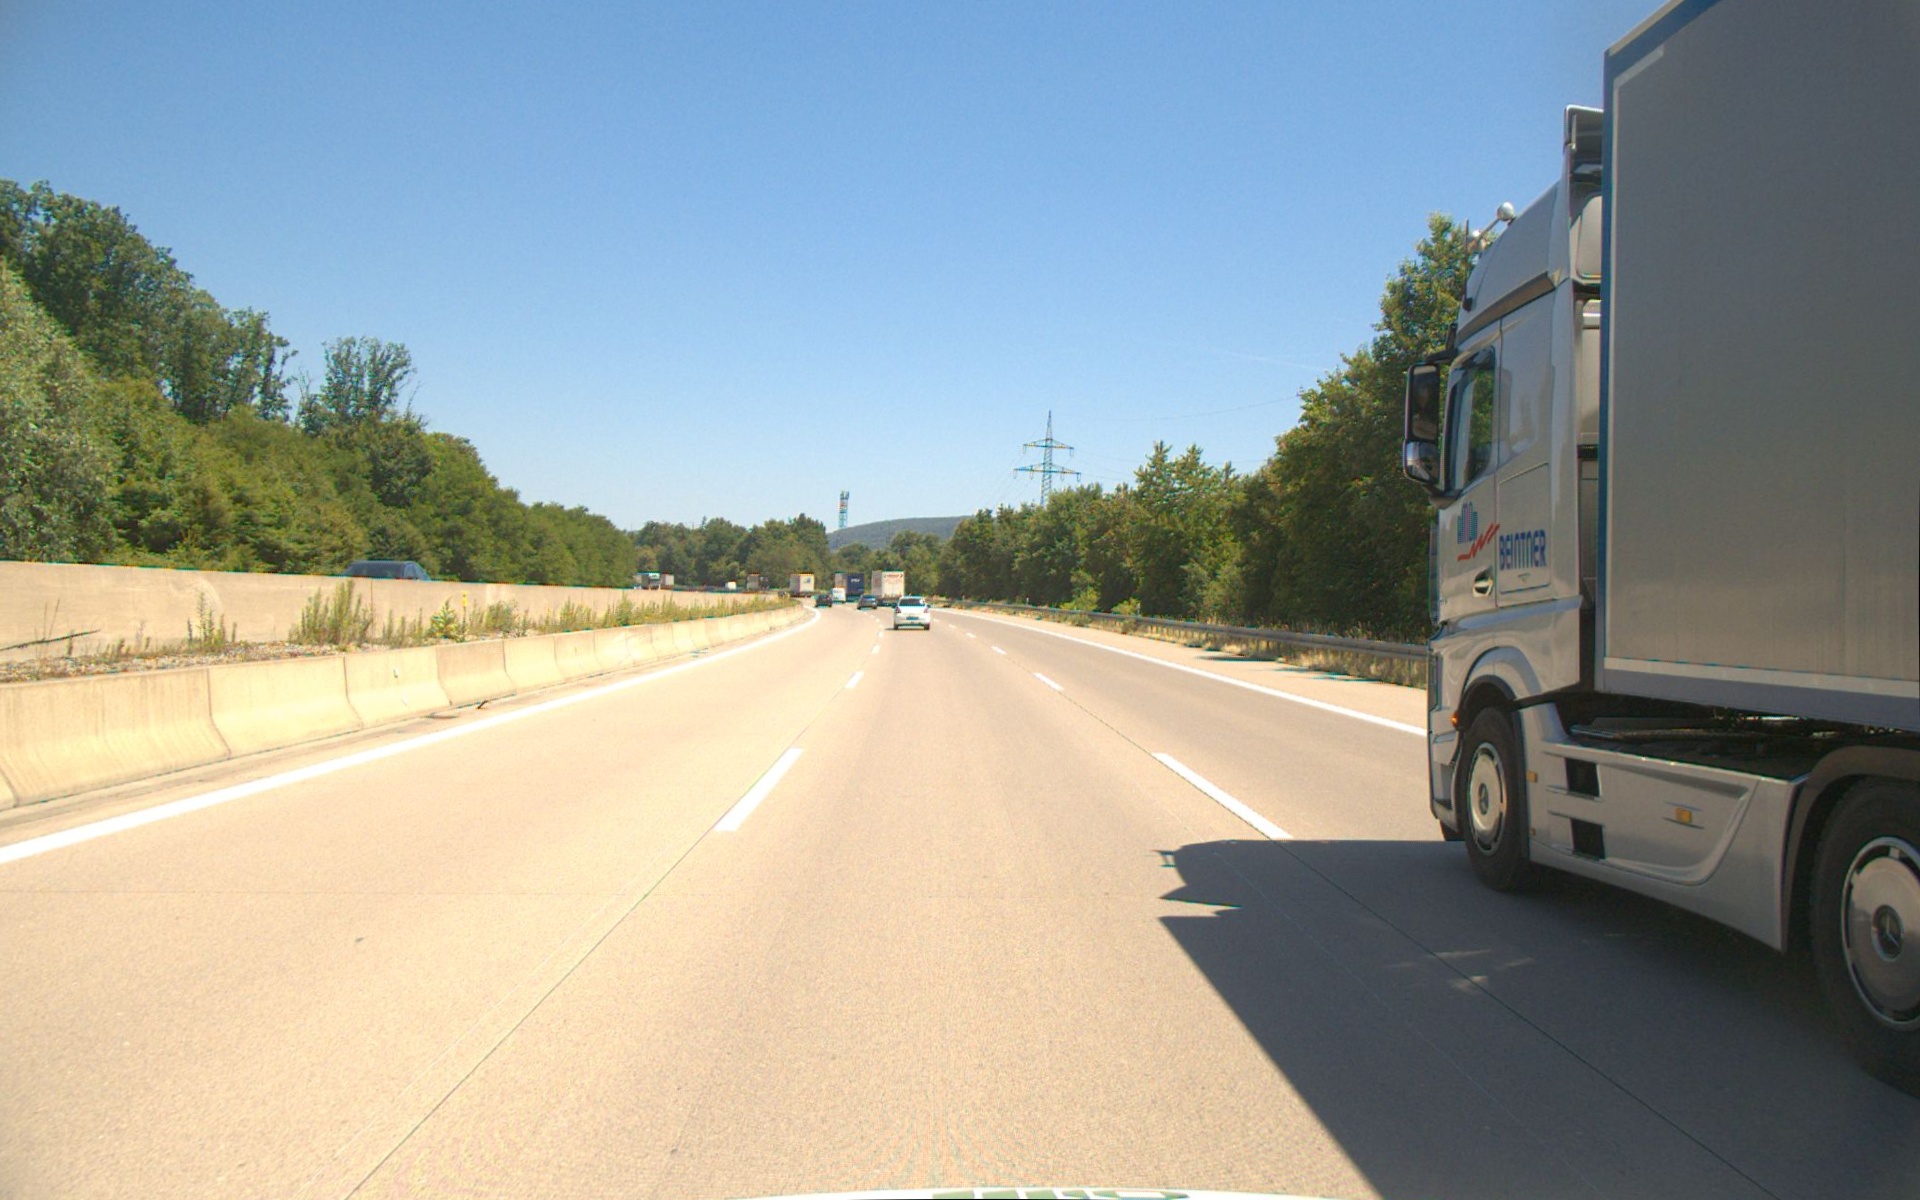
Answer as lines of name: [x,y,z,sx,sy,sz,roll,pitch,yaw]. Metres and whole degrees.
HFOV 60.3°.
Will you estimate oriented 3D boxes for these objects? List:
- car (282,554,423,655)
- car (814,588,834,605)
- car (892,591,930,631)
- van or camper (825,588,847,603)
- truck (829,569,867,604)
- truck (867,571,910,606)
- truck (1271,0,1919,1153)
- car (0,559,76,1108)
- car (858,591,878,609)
car: [-13.215,0.091,36.270,1.403,2.049,4.785,1,0,-1]
car: [-14.926,-0.390,181.541,1.982,1.730,3.998,5,0,-3]
car: [-2.307,0.508,77.457,1.608,1.690,3.359,4,0,-2]
van or camper: [-16.397,-0.591,218.472,1.839,1.870,3.978,0,0,-19]
truck: [-16.309,-1.913,239.760,3.837,4.824,14.014,0,0,-10]
truck: [-8.357,-1.299,191.582,3.748,3.957,14.130,0,0,-7]
truck: [4.408,-1.402,3.129,3.505,5.887,18.242,3,0,-1]
car: [-3.468,0.658,2.087,1.853,1.499,5.601,0,0,-2]
car: [-9.088,-0.011,163.085,1.580,1.755,3.566,0,0,-9]
